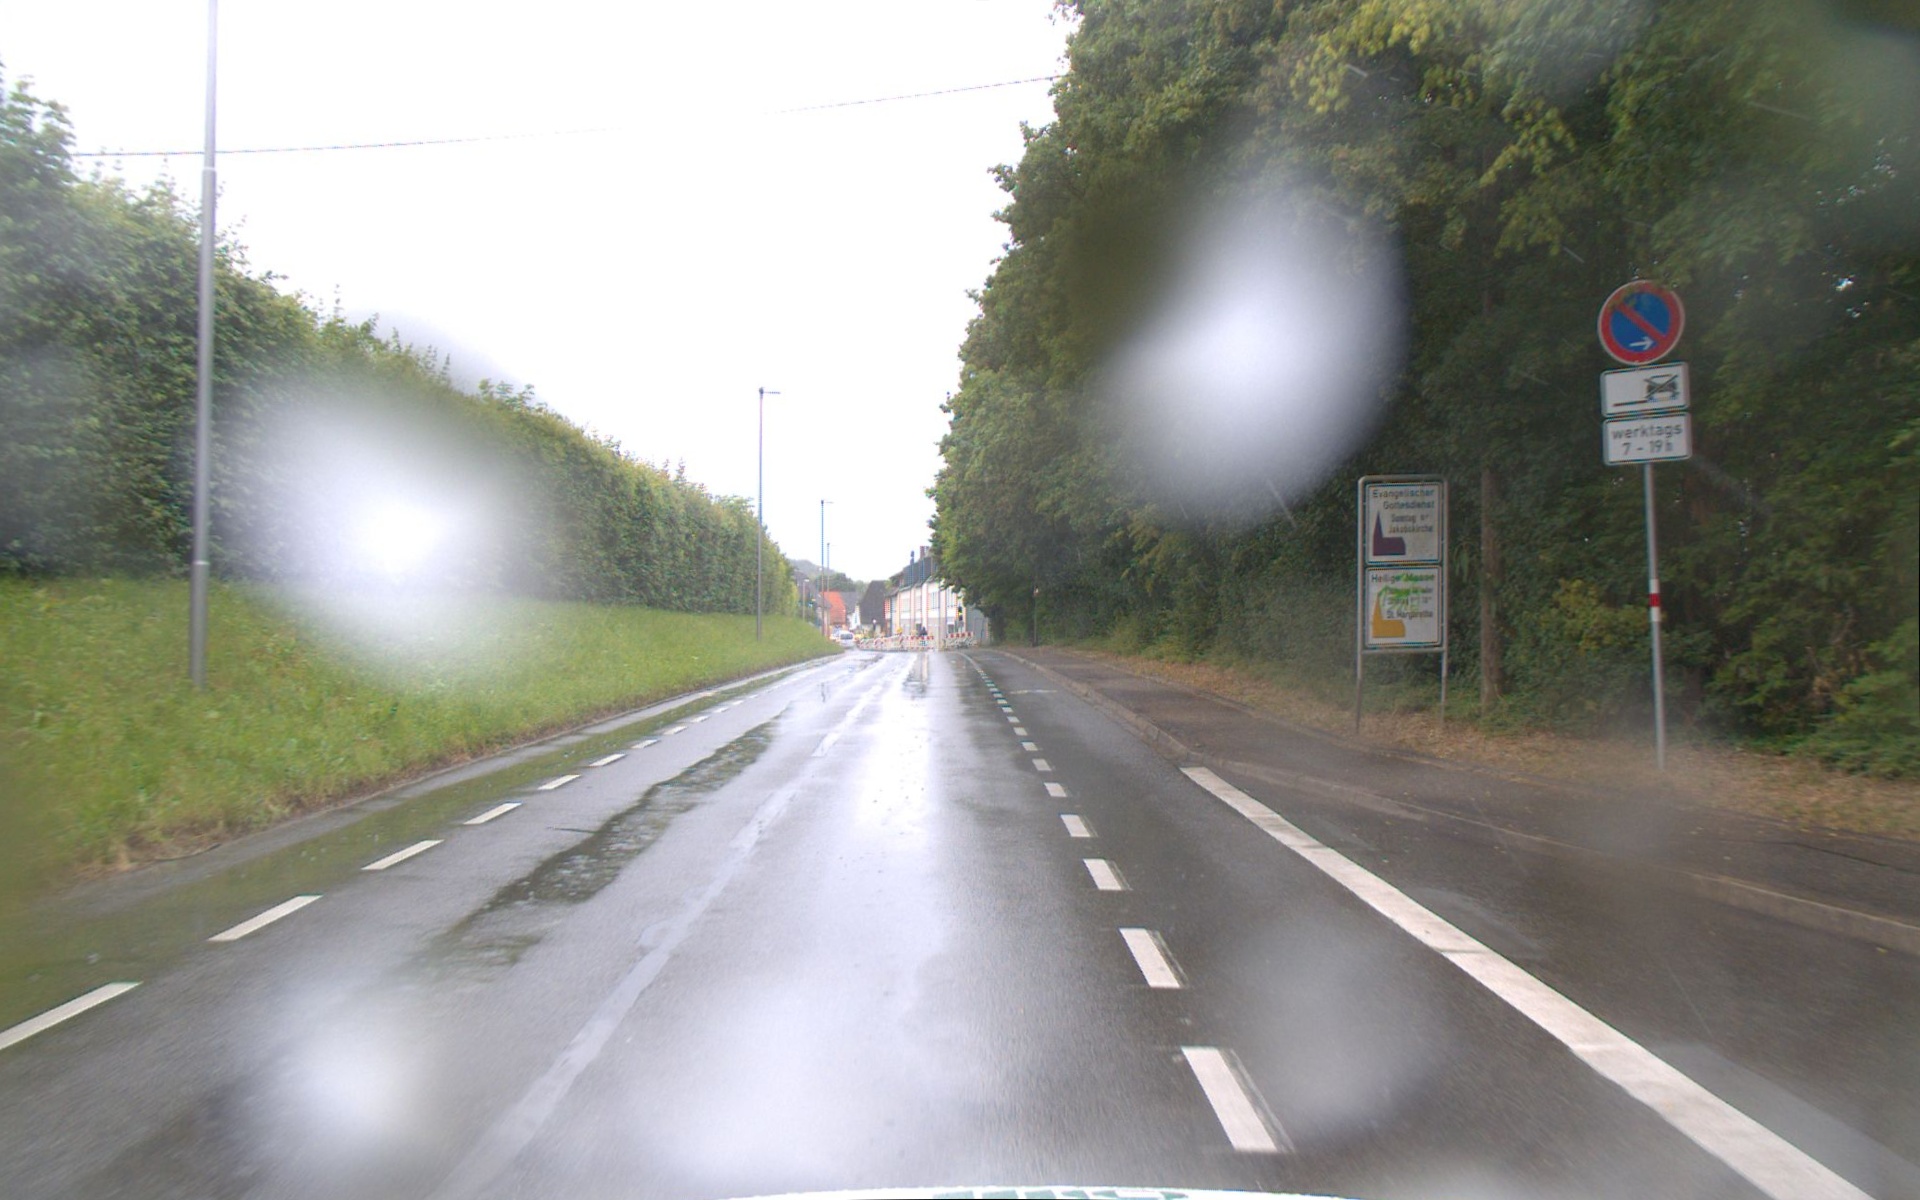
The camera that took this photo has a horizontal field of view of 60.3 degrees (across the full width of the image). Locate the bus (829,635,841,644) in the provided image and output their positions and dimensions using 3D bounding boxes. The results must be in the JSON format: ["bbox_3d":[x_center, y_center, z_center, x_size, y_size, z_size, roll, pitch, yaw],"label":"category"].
[{"bbox_3d":[-19.357,6.143,256.373,1.758,1.434,3.996,1,-2,-3],"label":"bus"}]

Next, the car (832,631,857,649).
[{"bbox_3d":[-11.533,3.960,165.013,1.957,1.639,3.991,2,0,-10],"label":"car"}]
